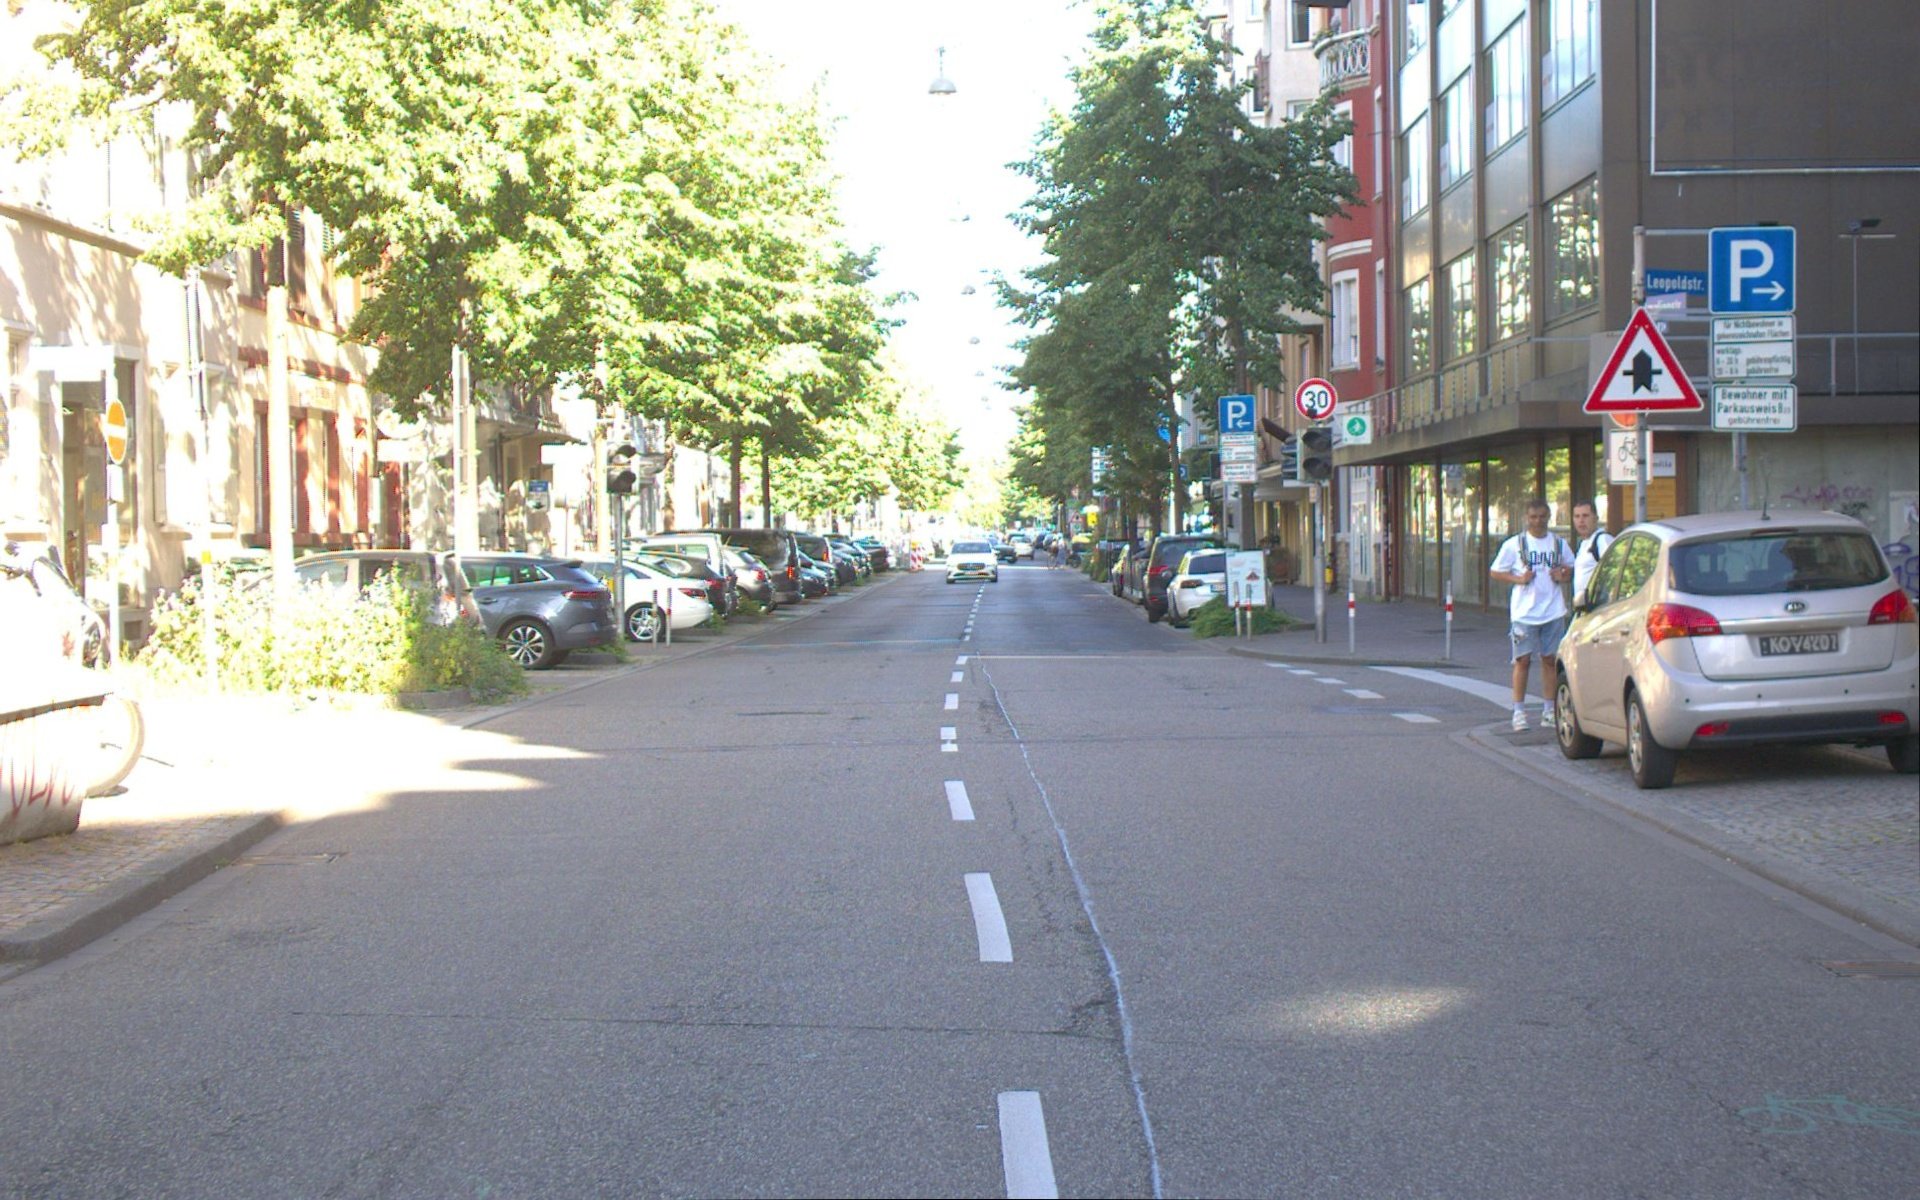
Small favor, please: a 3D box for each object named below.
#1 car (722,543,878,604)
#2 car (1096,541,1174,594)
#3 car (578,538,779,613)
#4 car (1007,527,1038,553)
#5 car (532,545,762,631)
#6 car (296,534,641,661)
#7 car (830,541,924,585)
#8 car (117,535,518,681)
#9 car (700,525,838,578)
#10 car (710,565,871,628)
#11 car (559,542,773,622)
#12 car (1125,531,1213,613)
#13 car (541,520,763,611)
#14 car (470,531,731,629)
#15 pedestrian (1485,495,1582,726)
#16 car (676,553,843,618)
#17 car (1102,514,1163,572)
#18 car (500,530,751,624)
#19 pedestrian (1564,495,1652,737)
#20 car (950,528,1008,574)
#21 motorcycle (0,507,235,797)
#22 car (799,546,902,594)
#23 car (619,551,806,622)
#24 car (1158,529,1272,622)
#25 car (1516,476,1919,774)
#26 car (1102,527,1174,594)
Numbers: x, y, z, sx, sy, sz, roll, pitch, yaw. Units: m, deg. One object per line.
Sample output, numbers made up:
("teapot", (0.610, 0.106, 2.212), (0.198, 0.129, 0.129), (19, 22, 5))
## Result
("car", (-4.353, -0.712, 93.908), (3.987, 1.503, 2.000), (2, 0, 5))
("car", (4.848, -0.914, 95.560), (1.993, 1.448, 4.000), (0, 1, 0))
("car", (-5.864, -0.511, 72.020), (3.987, 1.503, 1.894), (1, 0, 2))
("car", (3.966, -3.775, 217.474), (1.870, 1.550, 4.000), (1, 0, 2))
("car", (-5.733, -0.218, 63.325), (3.987, 1.503, 2.000), (1, 0, 2))
("car", (-6.137, -0.035, 43.236), (3.987, 1.503, 2.000), (1, 0, 2))
("car", (-3.824, -1.716, 158.670), (3.989, 2.007, 1.999), (0, 1, 11))
("car", (-7.009, 0.075, 37.791), (3.987, 1.503, 2.000), (1, 0, 2))
("car", (-5.949, -1.503, 107.203), (3.988, 1.503, 2.000), (2, 0, 6))
("car", (-4.479, -0.092, 91.301), (3.987, 1.503, 2.000), (2, 0, 5))
("car", (-5.794, -0.357, 68.063), (3.987, 1.503, 2.000), (1, 0, 2))
("car", (5.308, -0.694, 87.731), (1.993, 2.007, 4.000), (1, 0, 0))
("car", (-5.857, -0.653, 65.812), (3.987, 1.668, 2.089), (1, 0, 2))
("car", (-5.841, -0.326, 56.206), (3.987, 1.503, 2.000), (1, 0, 2))
("pedestrian", (4.364, 0.079, 26.128), (0.614, 1.729, 0.633), (1, 0, 19))
("car", (-5.121, -0.376, 88.215), (3.987, 1.503, 2.000), (2, 0, 5))
("car", (6.174, -2.035, 123.148), (1.993, 2.007, 4.000), (0, 1, 0))
("car", (-5.637, -0.391, 58.290), (3.987, 1.503, 2.000), (1, 0, 2))
("pedestrian", (4.824, 0.114, 25.567), (0.512, 1.774, 0.611), (1, 0, 22))
("car", (0.695, -1.729, 122.783), (1.993, 1.550, 4.000), (1, 0, 2))
("motorcycle", (-5.541, 0.295, 19.821), (2.474, 1.599, 0.999), (-1, 1, 20))
("car", (-4.618, -1.277, 145.327), (3.989, 2.007, 1.999), (0, 1, 11))
("car", (-5.495, -0.306, 76.635), (3.987, 1.503, 2.000), (1, 0, 1))
("car", (4.664, -0.432, 63.339), (1.994, 1.612, 4.009), (1, 0, 3))
("car", (4.882, 0.145, 21.943), (1.899, 1.669, 4.825), (1, 0, 0))
("car", (5.543, -1.249, 107.492), (1.993, 2.007, 4.000), (-2, 1, 0))
